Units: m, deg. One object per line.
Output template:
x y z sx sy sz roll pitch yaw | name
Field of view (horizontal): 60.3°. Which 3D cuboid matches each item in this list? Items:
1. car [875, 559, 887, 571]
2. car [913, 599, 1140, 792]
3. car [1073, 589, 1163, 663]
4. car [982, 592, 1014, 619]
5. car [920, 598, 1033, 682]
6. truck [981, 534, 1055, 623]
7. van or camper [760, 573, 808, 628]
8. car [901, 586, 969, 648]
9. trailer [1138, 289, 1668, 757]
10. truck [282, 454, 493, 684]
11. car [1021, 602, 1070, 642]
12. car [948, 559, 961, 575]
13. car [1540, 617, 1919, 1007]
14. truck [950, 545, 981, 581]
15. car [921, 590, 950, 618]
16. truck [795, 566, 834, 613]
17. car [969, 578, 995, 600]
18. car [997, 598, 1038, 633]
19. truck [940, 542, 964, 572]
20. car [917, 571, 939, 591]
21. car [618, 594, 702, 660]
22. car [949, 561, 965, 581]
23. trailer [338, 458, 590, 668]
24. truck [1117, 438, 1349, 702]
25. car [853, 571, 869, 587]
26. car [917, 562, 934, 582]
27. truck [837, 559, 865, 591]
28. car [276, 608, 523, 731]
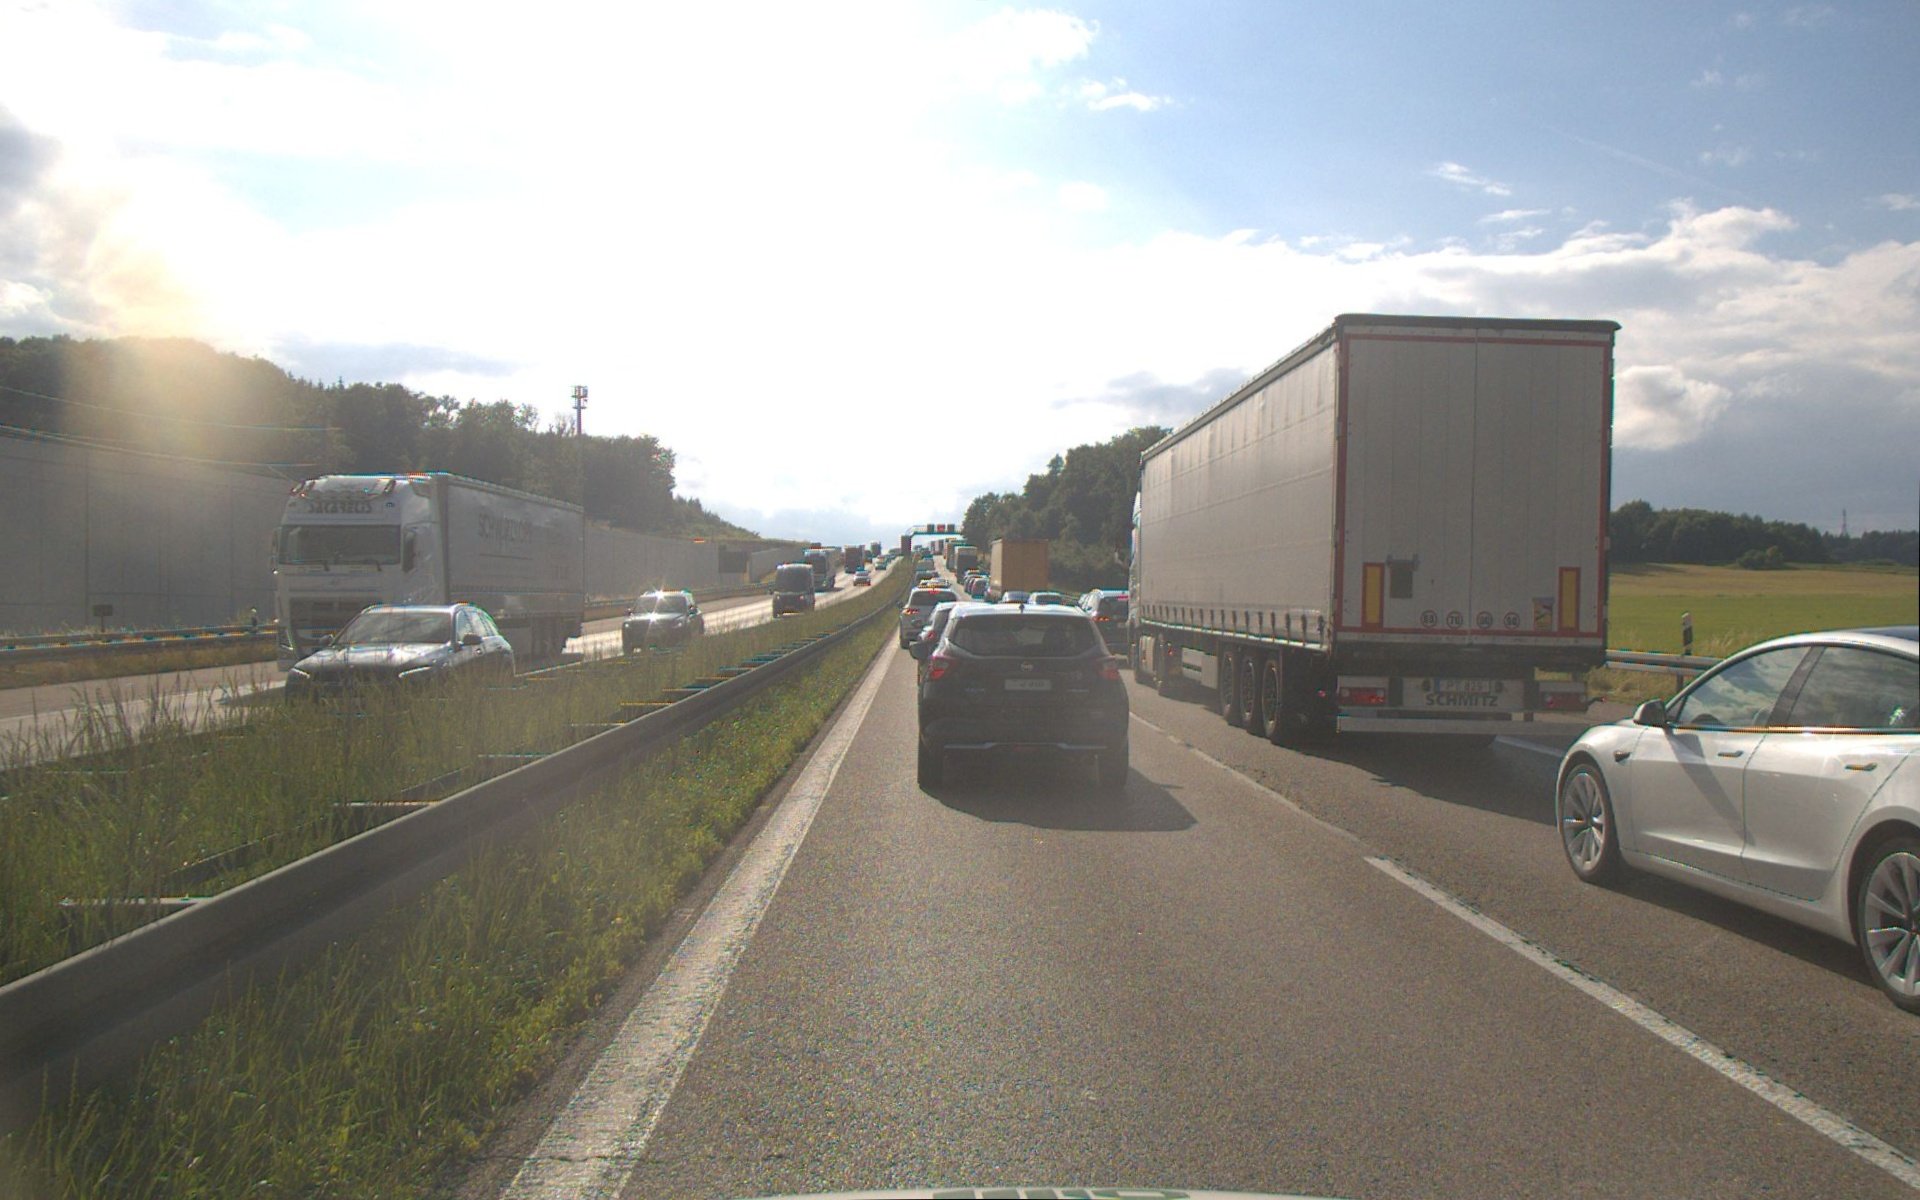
-12.431 -5.482 260.095 1.708 1.735 4.232 1 1 -1 | car
0.476 0.738 14.783 1.737 1.476 4.231 0 0 -1 | car
3.619 0.582 38.547 1.663 1.639 4.436 0 0 0 | car
2.394 0.351 105.842 1.835 1.673 4.230 0 0 -2 | car
0.232 0.660 29.139 1.835 1.381 4.231 0 0 -1 | car
3.186 -1.076 94.727 3.231 4.657 12.433 1 -1 -2 | truck
-9.506 0.070 89.676 2.048 2.869 5.893 1 -1 -1 | van or camper
-0.708 0.459 46.805 1.835 1.673 4.231 0 0 -1 | car
4.637 -0.549 21.238 3.067 4.081 13.363 1 -1 -1 | trailer
-11.472 -0.571 33.701 2.332 4.254 5.930 -1 0 -1 | truck
3.699 0.925 71.770 1.835 1.673 4.231 0 0 -1 | car
-0.846 -4.948 249.054 1.835 2.196 5.211 0 3 -1 | car
4.391 0.814 7.527 1.753 1.418 4.434 0 0 -3 | car
0.668 -4.884 219.722 3.395 4.657 12.436 1 1 -2 | truck
-1.541 0.248 104.014 1.835 1.673 4.232 0 1 -1 | car
-14.961 -1.073 170.509 3.230 4.657 12.437 0 0 -1 | truck
1.819 -0.930 137.216 1.836 1.673 4.229 0 1 -4 | car
2.826 0.762 81.896 1.835 1.673 4.231 0 0 -1 | car
-1.294 -6.795 265.347 3.395 4.657 12.436 1 1 -2 | truck
-2.816 -1.640 143.272 1.836 1.673 4.231 0 1 -2 | car
-8.205 0.728 45.547 1.674 1.736 4.171 0 0 -2 | car
-0.376 -3.375 194.209 1.835 2.196 5.211 0 3 -1 | car
-11.560 -0.723 40.231 2.341 4.255 13.200 -1 0 -1 | trailer
4.536 -0.428 28.536 3.070 4.086 5.162 1 -1 -1 | truck
-11.041 -2.366 185.208 1.709 1.735 4.229 0 0 -3 | car
-3.942 -3.209 187.810 1.835 2.196 5.211 0 3 -1 | car
-16.491 -3.716 251.187 3.229 4.634 12.441 0 0 0 | truck
-6.849 0.786 20.675 1.706 1.381 4.231 0 0 -1 | car
